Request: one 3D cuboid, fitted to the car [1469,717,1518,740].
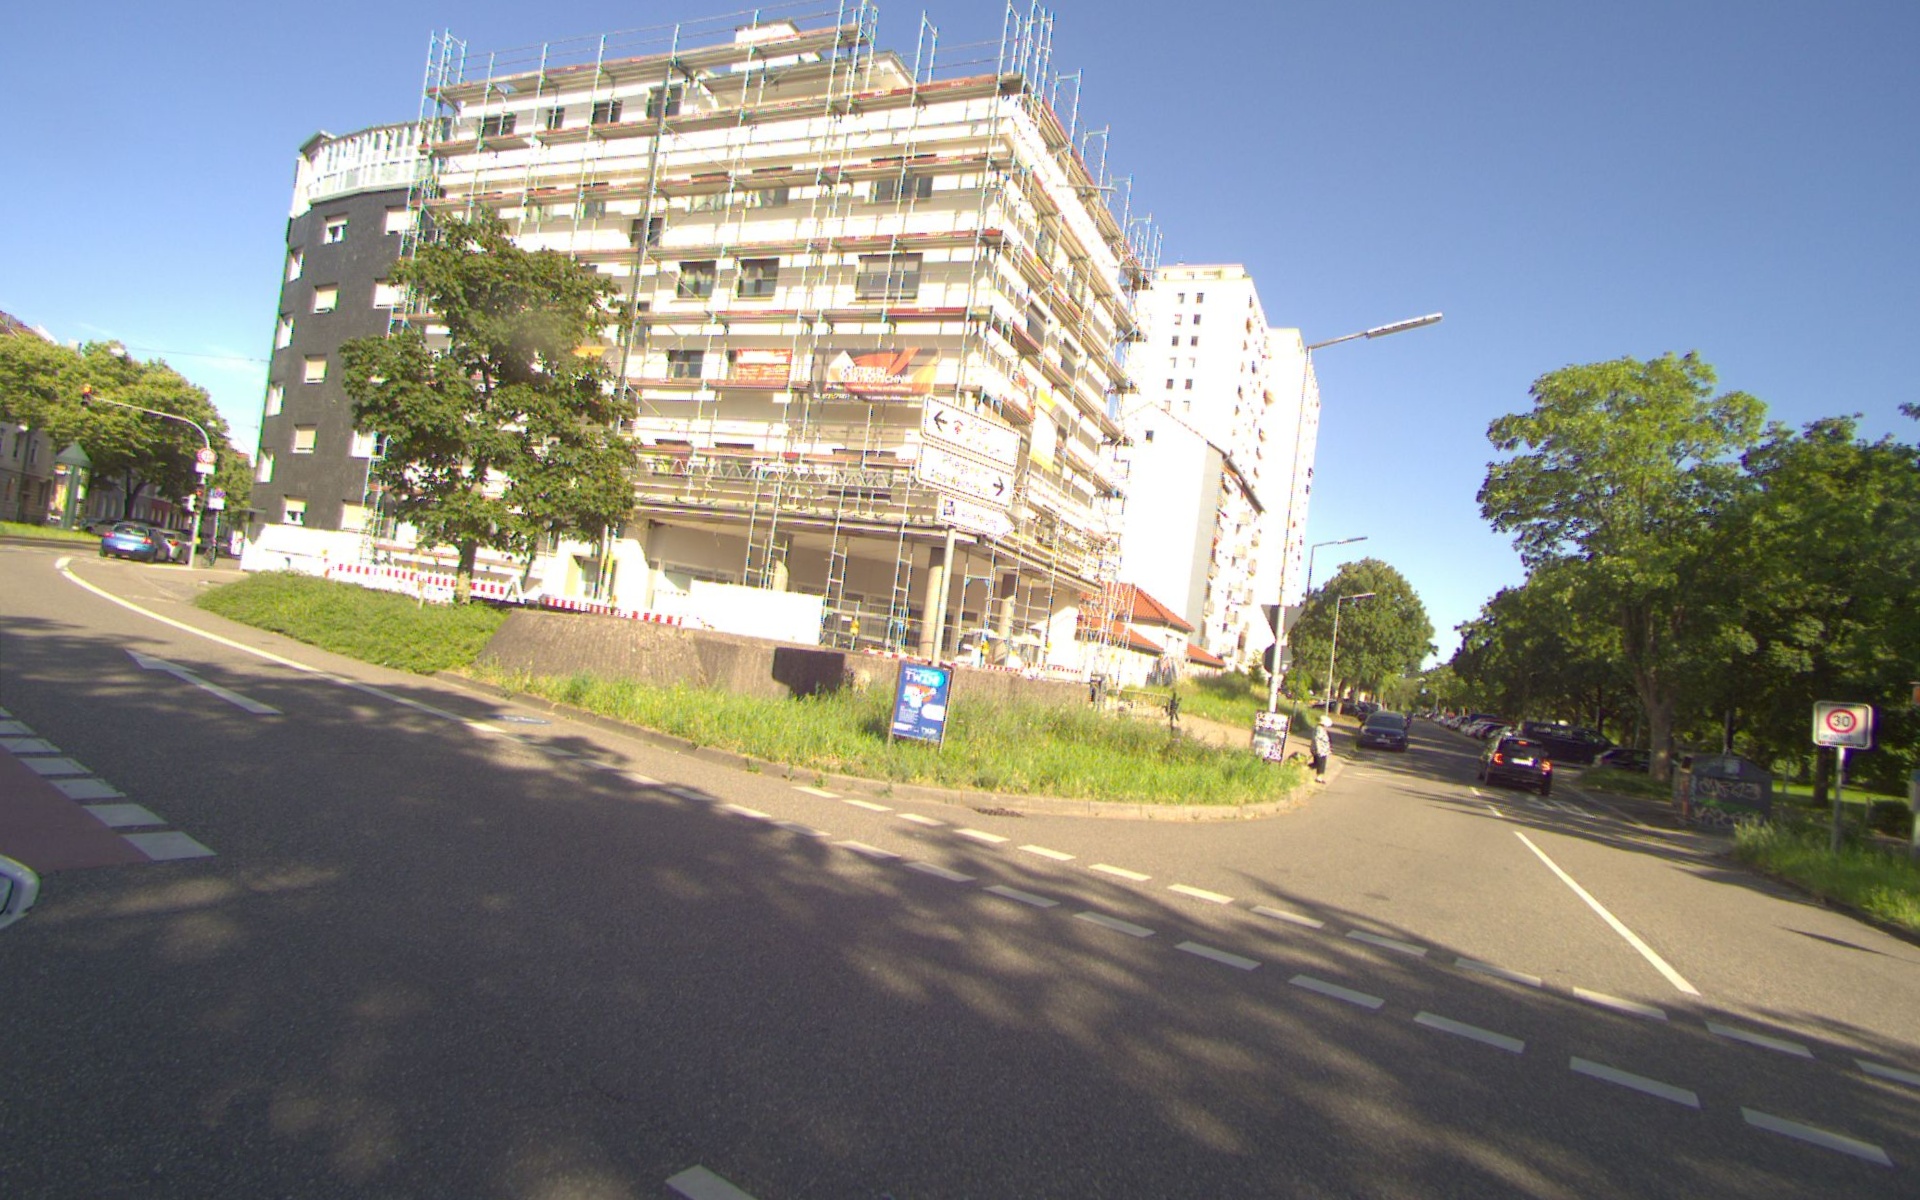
[{"bbox_3d":[51.716,12.473,97.582,3.929,1.673,2.002,6,-4,25],"label":"car"}]

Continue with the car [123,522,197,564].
[{"bbox_3d":[-36.258,-2.542,45.708,1.806,1.525,3.972,9,-2,-29],"label":"car"}]

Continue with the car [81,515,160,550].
[{"bbox_3d":[-55.008,-4.405,65.920,3.924,1.612,1.913,7,-2,15],"label":"car"}]

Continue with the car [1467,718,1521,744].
[{"bbox_3d":[47.275,11.623,89.134,3.929,1.673,2.002,6,-4,25],"label":"car"}]

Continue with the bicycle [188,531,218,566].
[{"bbox_3d":[-35.979,-2.431,47.836,0.569,1.528,2.788,8,-2,-28],"label":"bicycle"}]

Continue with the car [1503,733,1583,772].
[{"bbox_3d":[34.787,9.102,60.169,3.931,1.673,2.001,6,-4,29],"label":"car"}]

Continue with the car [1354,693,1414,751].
[{"bbox_3d":[17.915,5.110,42.389,1.964,2.036,4.002,7,-3,25],"label":"car"}]

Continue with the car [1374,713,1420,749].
[{"bbox_3d":[24.142,7.247,55.517,1.965,1.679,4.003,6,-5,27],"label":"car"}]

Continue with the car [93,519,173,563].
[{"bbox_3d":[-33.937,-2.392,41.387,1.763,1.458,3.592,10,-3,-30],"label":"car"}]

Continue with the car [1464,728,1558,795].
[{"bbox_3d":[16.356,4.751,30.024,1.648,1.520,3.566,7,-3,18],"label":"car"}]

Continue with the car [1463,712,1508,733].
[{"bbox_3d":[56.037,13.096,107.342,3.929,1.673,2.002,6,-4,25],"label":"car"}]

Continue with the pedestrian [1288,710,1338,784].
[{"bbox_3d":[8.052,3.331,22.950,0.892,1.514,0.652,7,-2,19],"label":"pedestrian"}]

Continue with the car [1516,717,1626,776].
[{"bbox_3d":[29.413,7.038,48.618,4.278,2.096,1.999,7,-2,31],"label":"car"}]

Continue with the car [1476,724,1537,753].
[{"bbox_3d":[42.343,10.719,78.060,3.929,1.673,2.002,6,-4,25],"label":"car"}]

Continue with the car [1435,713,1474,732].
[{"bbox_3d":[59.123,14.628,120.376,3.929,1.673,2.002,6,-4,25],"label":"car"}]

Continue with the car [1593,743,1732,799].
[{"bbox_3d":[25.300,6.151,36.341,3.938,1.311,1.997,5,-5,35],"label":"car"}]
